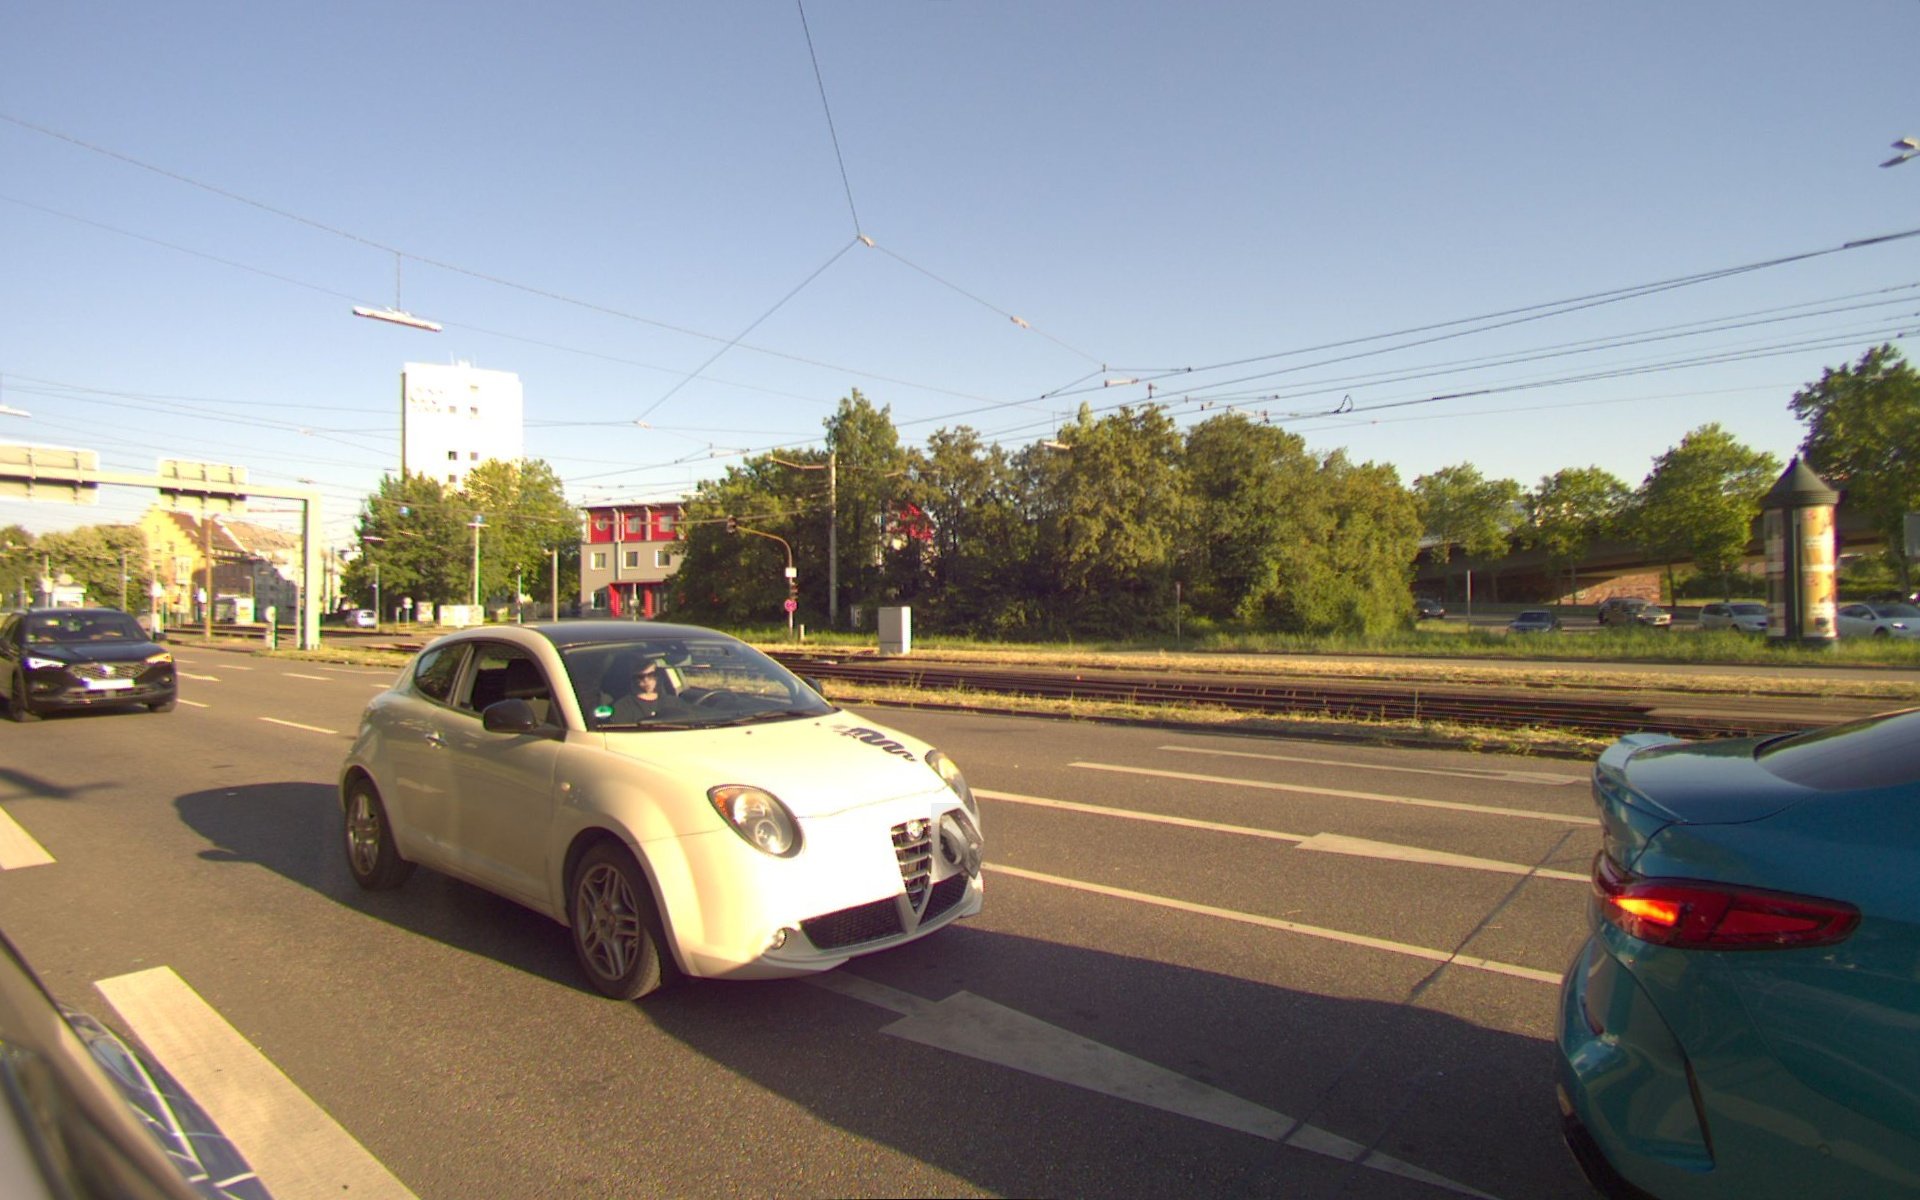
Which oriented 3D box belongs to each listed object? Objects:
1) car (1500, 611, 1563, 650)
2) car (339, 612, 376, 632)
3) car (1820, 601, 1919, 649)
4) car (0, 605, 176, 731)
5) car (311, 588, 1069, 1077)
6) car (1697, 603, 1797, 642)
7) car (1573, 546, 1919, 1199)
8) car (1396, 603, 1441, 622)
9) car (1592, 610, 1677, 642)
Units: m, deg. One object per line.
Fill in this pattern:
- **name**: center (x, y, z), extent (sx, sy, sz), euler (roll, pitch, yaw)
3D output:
- **car**: center (26.638, 1.383, 47.082), extent (1.752, 1.691, 4.693), euler (-2, -1, 39)
- **car**: center (-57.108, 2.090, 95.911), extent (4.259, 1.801, 1.912), euler (-2, -2, 43)
- **car**: center (33.261, 0.834, 36.275), extent (1.677, 1.586, 4.747), euler (-1, -1, 13)
- **car**: center (-13.949, 0.959, 15.838), extent (4.621, 1.692, 1.795), euler (-1, -1, 41)
- **car**: center (-1.596, 0.784, 5.116), extent (3.997, 1.517, 1.719), euler (-2, -2, 40)
- **car**: center (35.166, 0.977, 45.366), extent (1.675, 1.643, 4.274), euler (-1, -1, 9)
- **car**: center (3.245, 0.635, 1.127), extent (4.201, 1.477, 1.697), euler (-2, -2, 38)
- **car**: center (38.336, 1.045, 84.667), extent (1.697, 1.537, 3.939), euler (-1, -1, -4)
- **car**: center (37.173, 1.399, 55.901), extent (1.670, 1.691, 4.413), euler (-1, -1, 0)
